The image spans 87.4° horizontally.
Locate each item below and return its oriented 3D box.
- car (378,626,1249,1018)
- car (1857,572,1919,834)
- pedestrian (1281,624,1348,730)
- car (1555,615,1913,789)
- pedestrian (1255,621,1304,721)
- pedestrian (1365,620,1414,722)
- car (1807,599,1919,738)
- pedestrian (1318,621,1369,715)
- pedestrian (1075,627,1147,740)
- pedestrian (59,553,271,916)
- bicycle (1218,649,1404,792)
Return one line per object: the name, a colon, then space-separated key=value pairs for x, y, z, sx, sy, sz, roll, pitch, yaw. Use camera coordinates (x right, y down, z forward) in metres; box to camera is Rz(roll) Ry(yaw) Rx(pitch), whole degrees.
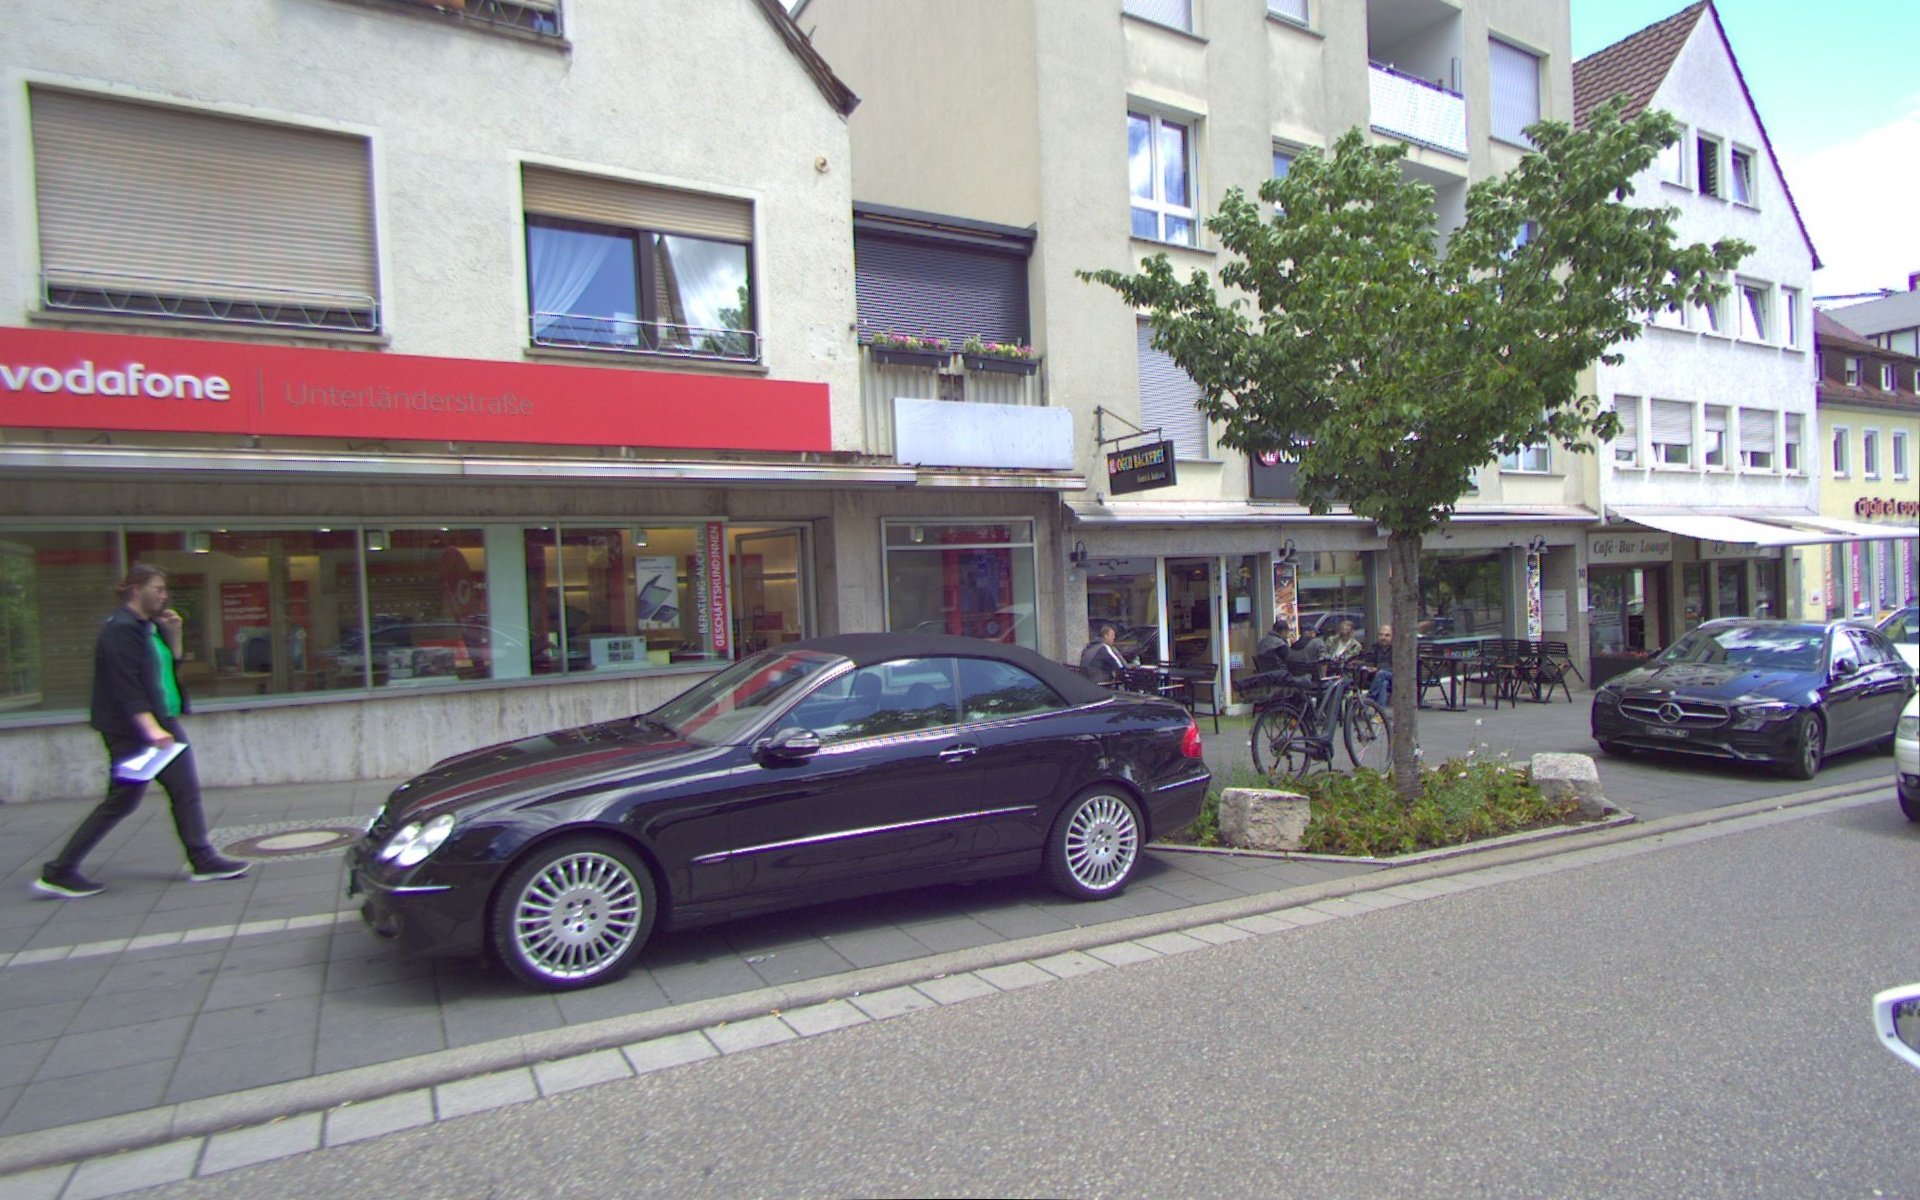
car: x=-0.615 y=0.870 z=5.501 sx=4.390 sy=1.410 sz=1.649 roll=1 pitch=-1 yaw=-30
car: x=8.768 y=0.716 z=7.552 sx=4.161 sy=1.826 sz=1.739 roll=1 pitch=-3 yaw=-30
pedestrian: x=4.478 y=0.951 z=12.694 sx=0.592 sy=1.284 sz=0.547 roll=0 pitch=0 yaw=-30
car: x=8.407 y=0.918 z=10.788 sx=4.471 sy=1.470 sz=1.827 roll=1 pitch=0 yaw=-36
pedestrian: x=4.206 y=0.923 z=13.230 sx=0.494 sy=1.266 sz=0.393 roll=-1 pitch=1 yaw=-30
pedestrian: x=5.712 y=0.935 z=13.371 sx=0.448 sy=1.317 sz=0.419 roll=-1 pitch=1 yaw=-30
car: x=13.216 y=0.823 z=13.304 sx=4.081 sy=1.668 sz=1.659 roll=0 pitch=1 yaw=-28
pedestrian: x=5.382 y=0.942 z=14.098 sx=0.560 sy=1.266 sz=0.425 roll=-1 pitch=1 yaw=-30
pedestrian: x=1.758 y=0.952 z=11.722 sx=0.592 sy=1.263 sz=0.593 roll=0 pitch=0 yaw=-30
pedestrian: x=-4.243 y=0.673 z=5.428 sx=0.769 sy=1.784 sz=0.657 roll=1 pitch=-1 yaw=-30
bicycle: x=3.156 y=1.022 z=8.951 sx=1.886 sy=1.121 sz=0.481 roll=1 pitch=0 yaw=-32
